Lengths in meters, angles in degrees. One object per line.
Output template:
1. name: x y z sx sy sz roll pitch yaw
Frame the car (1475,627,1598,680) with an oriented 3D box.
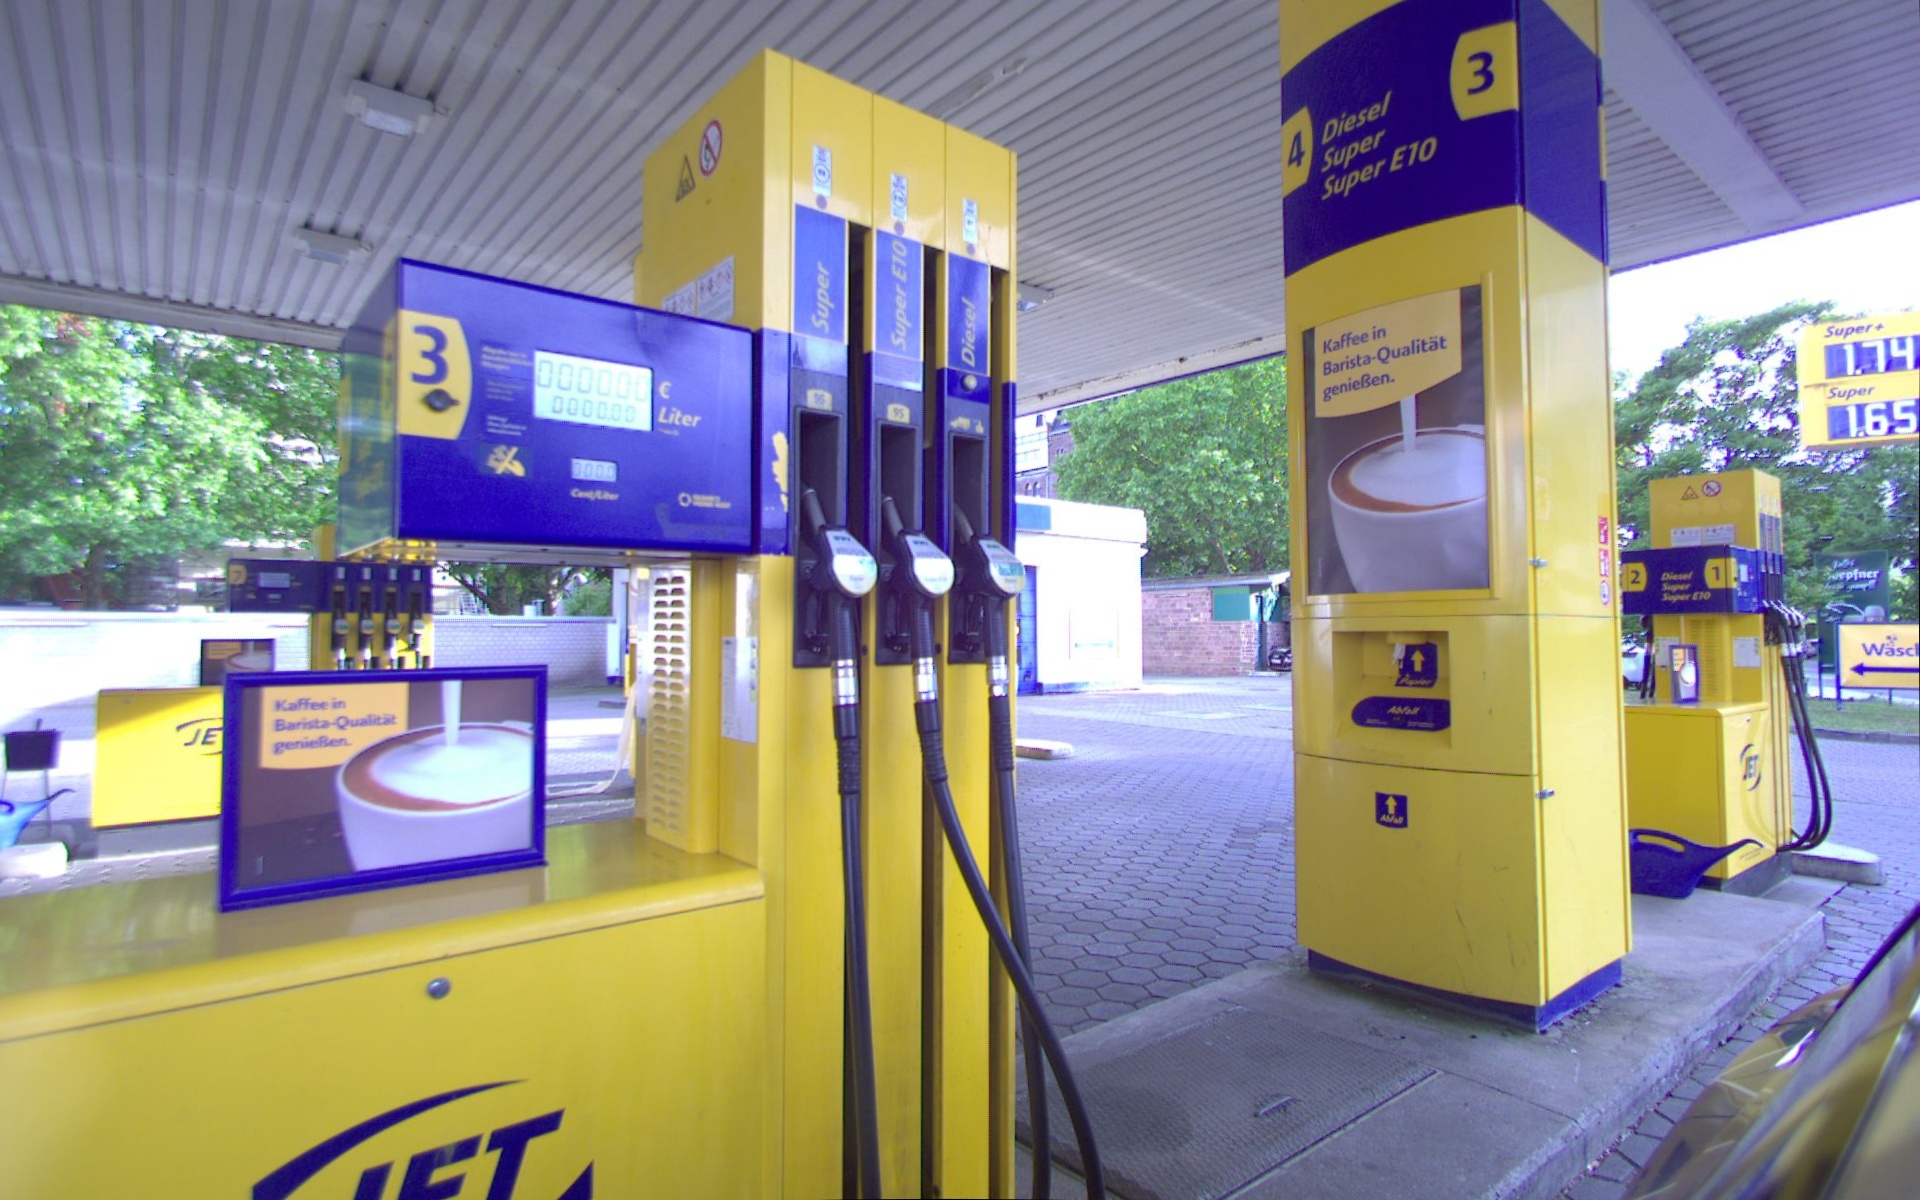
1. car: 17.552 1.635 30.750 3.923 1.529 1.740 3 -3 -35

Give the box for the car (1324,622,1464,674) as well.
1. car: 13.785 1.541 32.149 4.134 1.544 1.791 2 -3 -24

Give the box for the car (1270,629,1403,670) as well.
1. car: 12.826 1.692 34.498 4.134 1.294 1.751 2 -3 -22

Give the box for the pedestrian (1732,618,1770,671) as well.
1. pedestrian: 31.459 1.765 40.285 0.923 2.040 1.205 0 -2 25

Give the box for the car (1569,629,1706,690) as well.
1. car: 18.217 1.556 27.162 3.923 1.529 1.740 2 -3 -35
